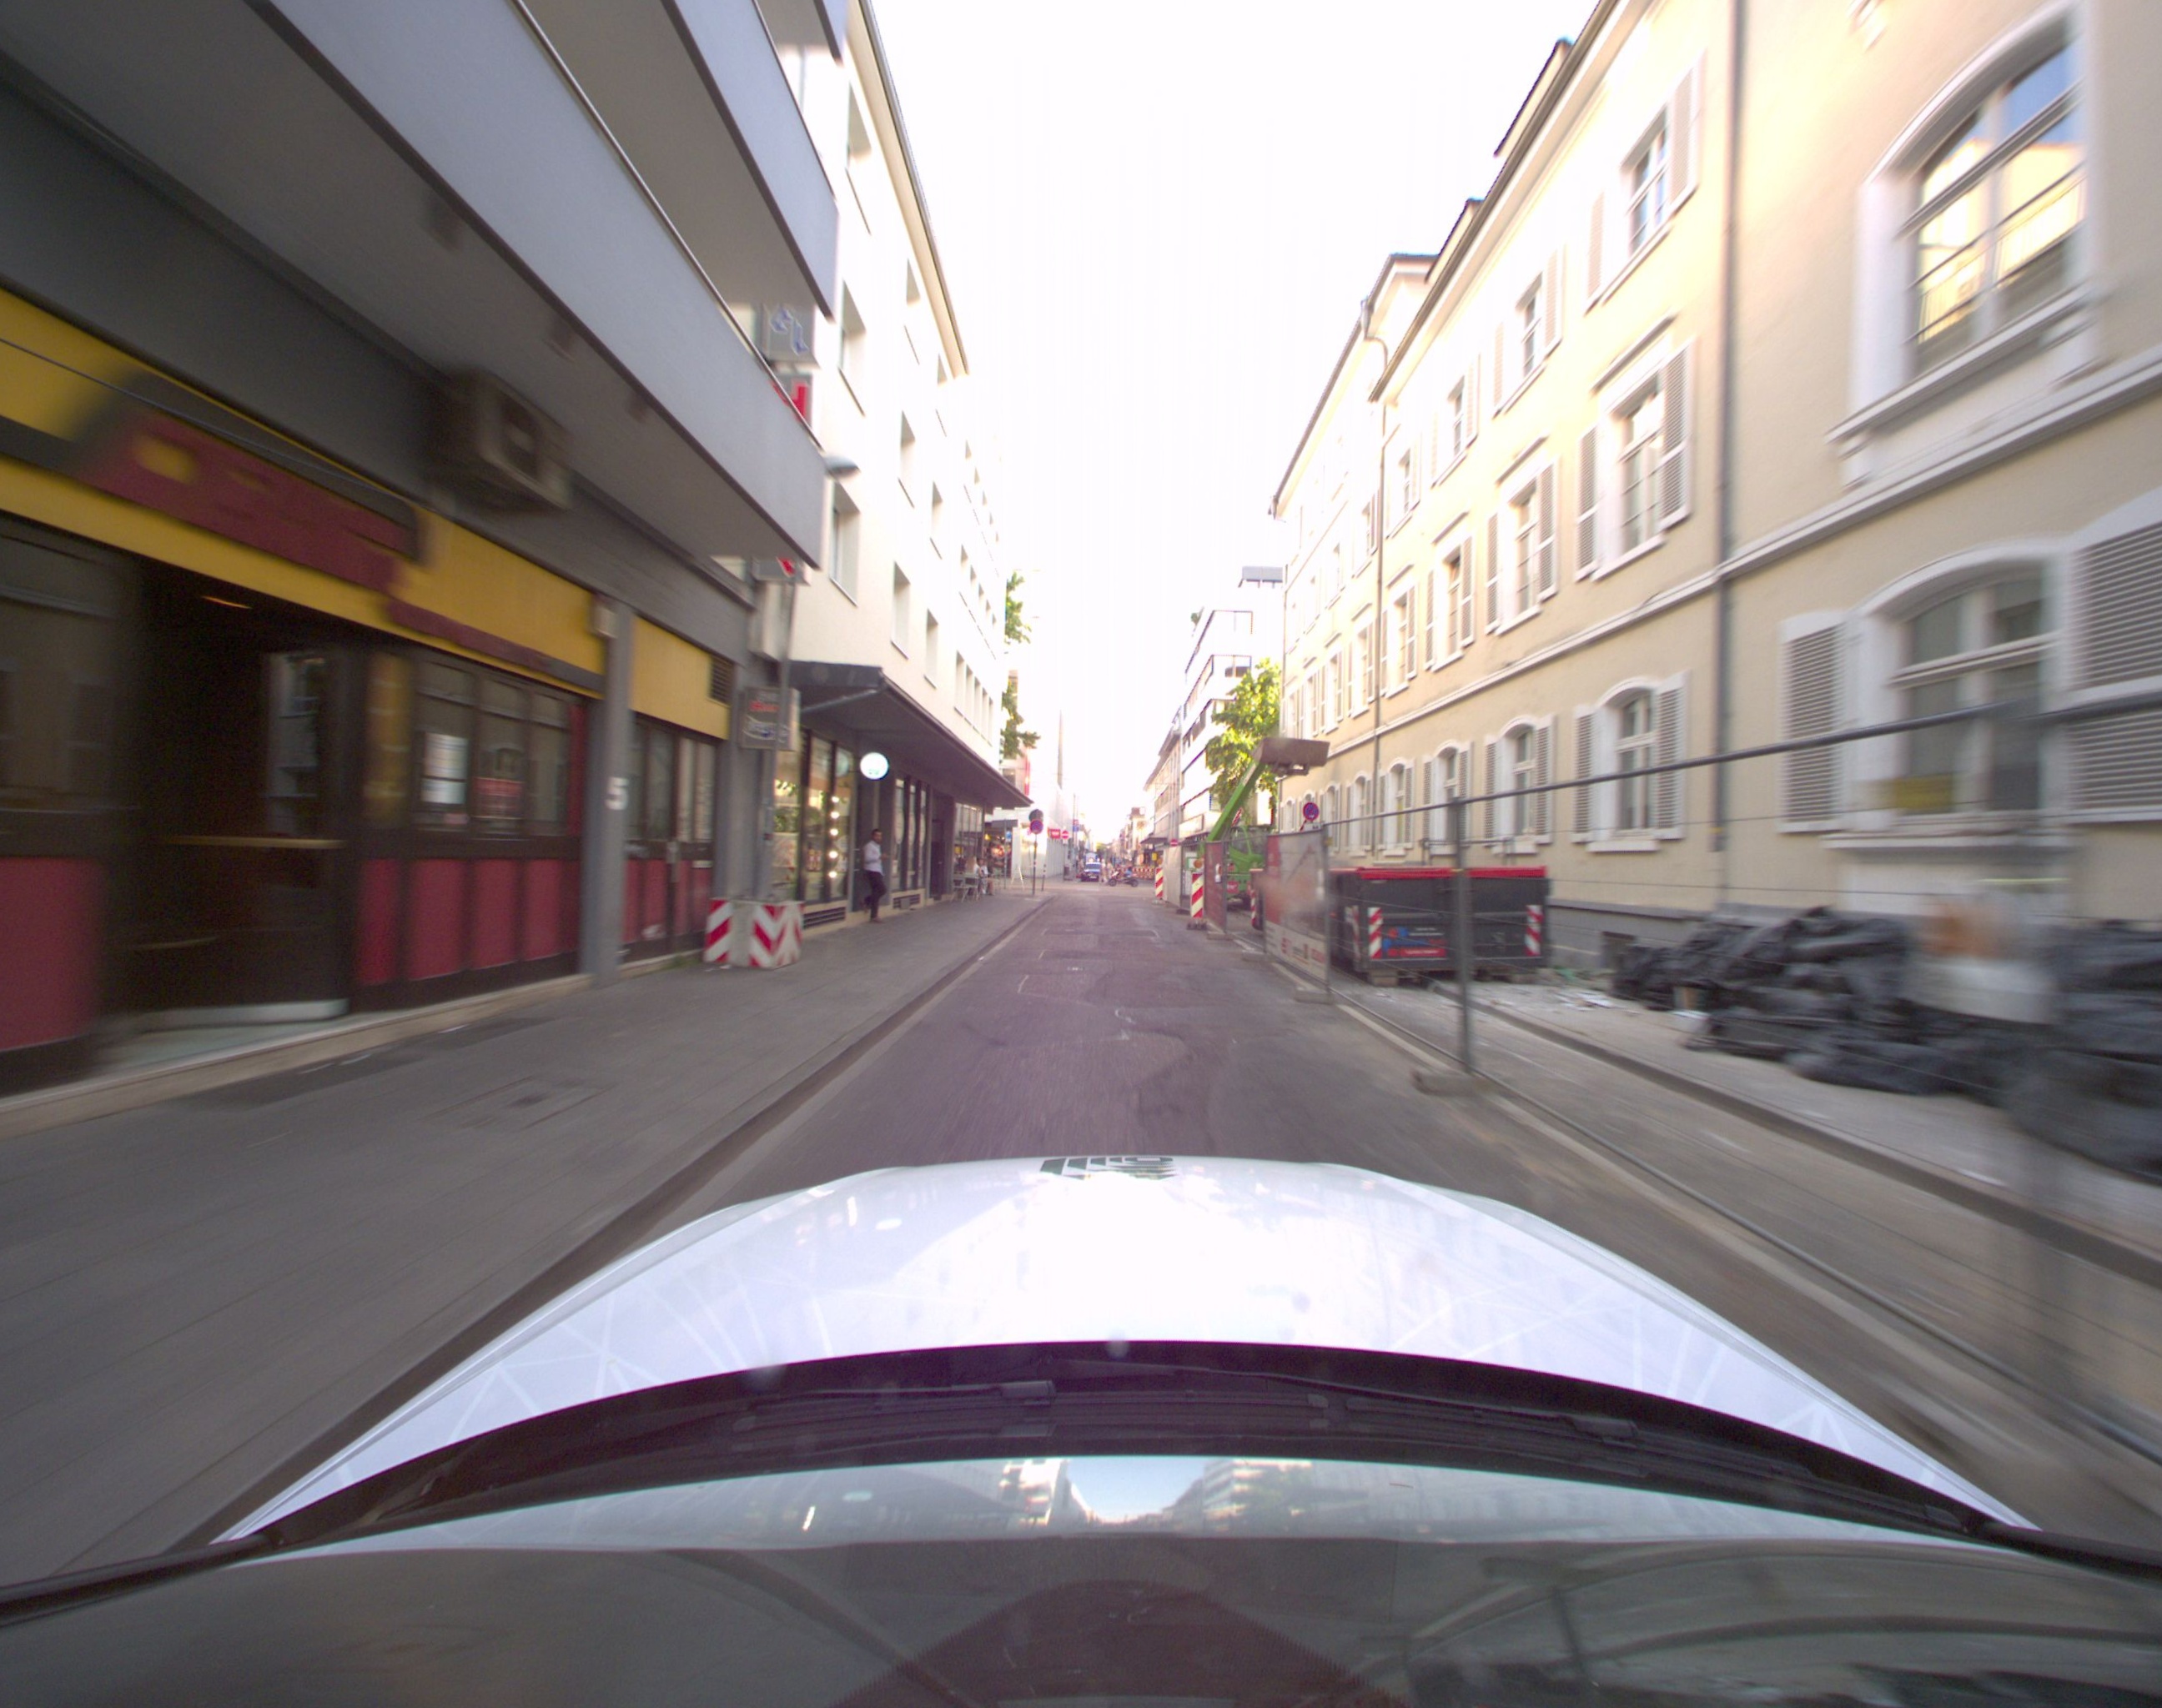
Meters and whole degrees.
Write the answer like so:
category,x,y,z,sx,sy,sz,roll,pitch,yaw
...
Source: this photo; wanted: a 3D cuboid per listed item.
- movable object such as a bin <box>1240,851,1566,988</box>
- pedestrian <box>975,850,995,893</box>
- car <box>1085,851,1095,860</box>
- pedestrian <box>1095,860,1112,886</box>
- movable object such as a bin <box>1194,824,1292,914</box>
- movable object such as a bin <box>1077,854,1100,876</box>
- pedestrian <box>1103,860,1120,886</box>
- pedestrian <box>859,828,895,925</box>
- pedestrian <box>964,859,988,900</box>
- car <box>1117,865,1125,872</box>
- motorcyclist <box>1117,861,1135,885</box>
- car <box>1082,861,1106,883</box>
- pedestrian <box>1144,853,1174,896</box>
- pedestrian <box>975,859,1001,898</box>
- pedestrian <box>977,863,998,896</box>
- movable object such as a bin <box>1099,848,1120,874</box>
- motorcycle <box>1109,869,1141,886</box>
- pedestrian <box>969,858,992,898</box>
category,x,y,z,sx,sy,sz,roll,pitch,yaw
movable object such as a bin,4.860,0.874,14.200,2.727,1.638,7.552,2,-1,0
pedestrian,-3.803,0.702,32.267,0.501,1.668,0.689,3,-1,11
car,1.742,0.262,157.131,1.986,1.777,4.001,1,-1,1
pedestrian,1.386,1.183,50.845,0.615,1.627,0.863,2,-1,-41
movable object such as a bin,5.475,0.499,28.175,2.595,2.839,4.451,1,-1,2
movable object such as a bin,0.741,1.032,77.265,1.986,2.014,4.002,1,-1,2
pedestrian,1.907,1.194,51.222,0.615,1.627,0.863,2,-1,-41
pedestrian,-3.930,0.425,15.714,0.529,1.834,0.562,1,-1,-5
pedestrian,-3.372,0.815,26.111,0.571,1.275,0.714,3,-1,1
car,9.838,3.587,201.138,1.986,1.777,4.001,1,-1,1
motorcyclist,2.658,1.116,48.173,0.894,1.388,0.670,2,-1,-9
car,0.975,1.364,62.089,1.625,1.550,3.140,1,0,-2
pedestrian,3.354,0.876,35.200,1.075,1.835,0.693,1,-1,-20
pedestrian,-3.205,0.843,28.033,0.699,1.275,0.714,3,-1,1
pedestrian,-3.335,0.901,28.975,0.571,1.114,0.714,3,-1,1
movable object such as a bin,2.999,0.732,87.483,2.149,2.664,4.573,2,-1,1
motorcycle,2.605,1.400,48.164,1.753,0.920,0.640,2,-1,-9
pedestrian,-3.333,0.799,27.037,0.571,1.275,0.714,4,-1,1
